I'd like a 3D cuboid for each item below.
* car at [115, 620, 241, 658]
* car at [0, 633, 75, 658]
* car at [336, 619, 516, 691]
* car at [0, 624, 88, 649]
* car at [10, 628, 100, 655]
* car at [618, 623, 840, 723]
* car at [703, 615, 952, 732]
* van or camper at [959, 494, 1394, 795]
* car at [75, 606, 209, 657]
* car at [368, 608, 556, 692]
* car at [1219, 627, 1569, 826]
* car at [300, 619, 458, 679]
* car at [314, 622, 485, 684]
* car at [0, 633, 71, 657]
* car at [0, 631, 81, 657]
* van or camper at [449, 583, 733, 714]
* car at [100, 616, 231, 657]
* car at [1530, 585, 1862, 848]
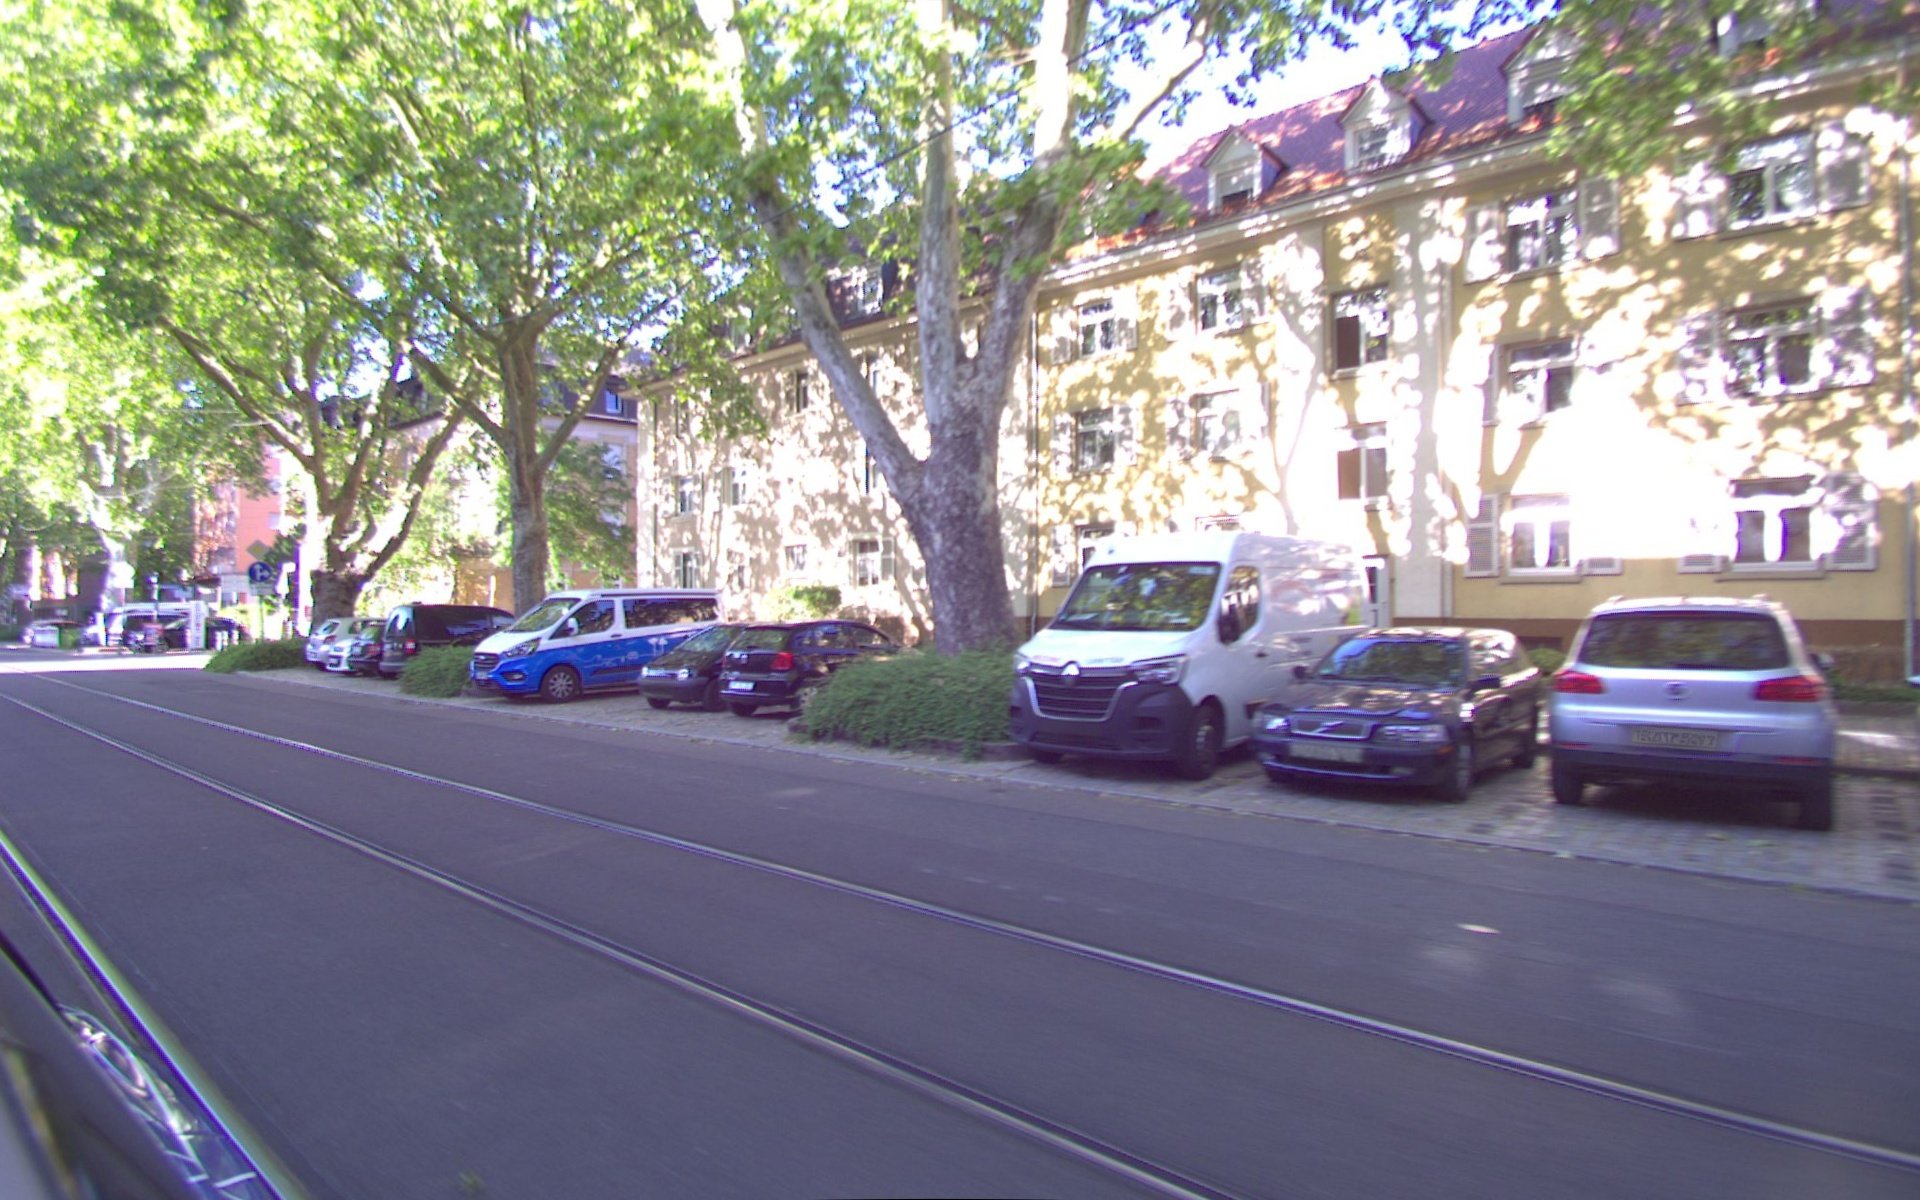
[{"bbox_3d":[-34.472,1.701,44.707,1.924,1.527,4.118,-2,-2,39],"label":"car"},{"bbox_3d":[-61.389,2.991,67.081,1.809,1.527,3.916,-2,-2,39],"label":"car"},{"bbox_3d":[-13.404,1.319,25.559,1.796,1.636,3.649,-1,-1,36],"label":"car"},{"bbox_3d":[-58.214,2.302,64.352,1.809,1.527,3.916,-2,-2,39],"label":"car"},{"bbox_3d":[-55.548,2.524,62.155,1.809,1.527,3.916,-2,-2,39],"label":"car"},{"bbox_3d":[-3.839,1.152,17.294,1.692,1.471,3.499,-1,-1,35],"label":"car"},{"bbox_3d":[-1.957,1.032,15.683,1.613,1.577,3.642,-1,-1,43],"label":"car"},{"bbox_3d":[2.670,0.401,11.327,2.444,2.535,5.332,-1,-1,42],"label":"van or camper"},{"bbox_3d":[-40.743,1.546,50.517,2.026,2.416,4.956,-2,-2,39],"label":"car"},{"bbox_3d":[-11.699,1.112,23.944,1.703,1.828,3.644,-1,-1,41],"label":"car"},{"bbox_3d":[4.187,0.966,9.369,1.752,1.409,4.219,-1,-2,41],"label":"car"},{"bbox_3d":[-16.560,1.358,28.921,3.638,1.565,1.705,0,-1,-43],"label":"car"},{"bbox_3d":[-14.922,1.352,27.079,1.698,1.497,3.651,-1,-1,34],"label":"car"},{"bbox_3d":[-63.141,3.053,68.707,1.809,1.527,3.916,-2,-2,39],"label":"car"},{"bbox_3d":[-59.738,2.847,65.647,1.809,1.527,3.916,-2,-2,39],"label":"car"},{"bbox_3d":[-6.993,0.842,19.608,2.118,2.206,4.770,-1,-1,40],"label":"van or camper"},{"bbox_3d":[-36.436,1.637,46.494,2.026,1.779,4.408,-2,-2,39],"label":"car"},{"bbox_3d":[6.306,0.801,8.516,1.862,1.675,3.806,-1,-2,41],"label":"car"}]
